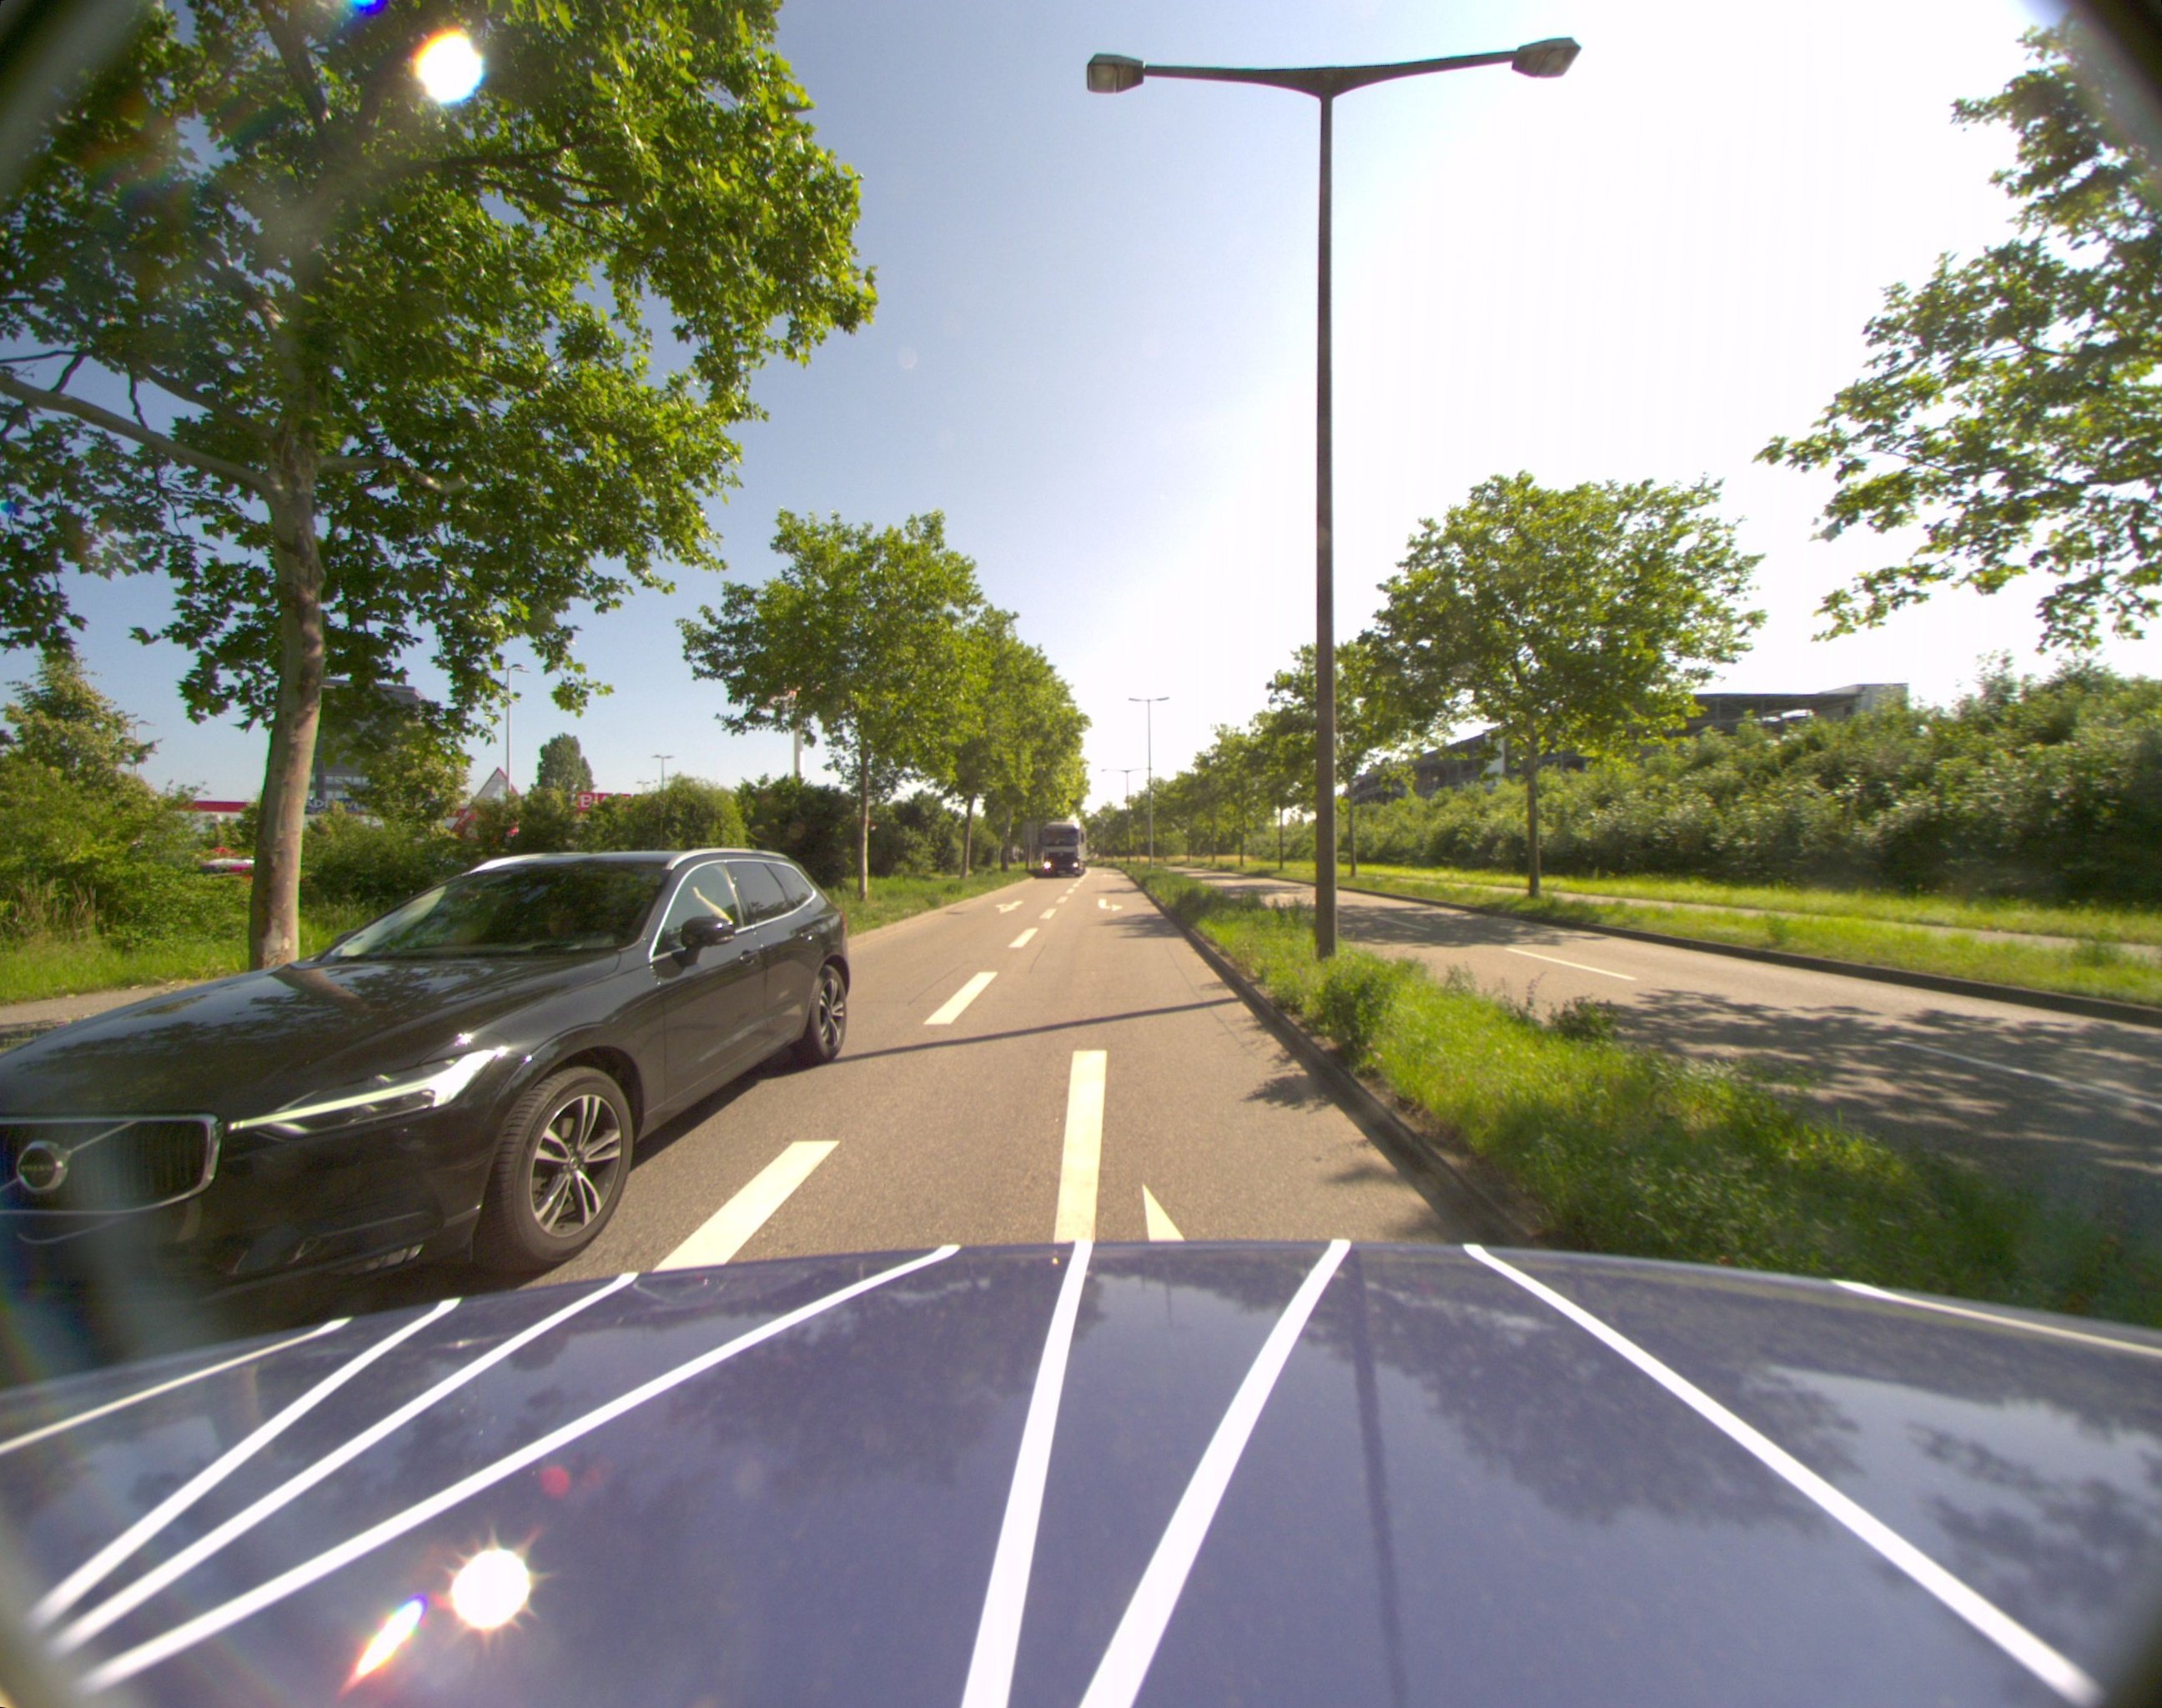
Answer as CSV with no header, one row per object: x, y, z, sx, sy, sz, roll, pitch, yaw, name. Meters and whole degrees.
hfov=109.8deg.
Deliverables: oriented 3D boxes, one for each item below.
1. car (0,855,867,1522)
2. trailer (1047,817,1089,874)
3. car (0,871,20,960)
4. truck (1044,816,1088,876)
-2.844,0.862,4.188,1.924,1.613,4.564,-2,1,1,car
-0.874,-0.678,59.520,2.805,4.023,10.795,-2,1,1,trailer
-22.395,1.234,13.781,3.558,1.686,1.718,-2,1,-4,car
-0.951,-0.549,52.316,2.741,3.872,5.851,-2,1,1,truck
